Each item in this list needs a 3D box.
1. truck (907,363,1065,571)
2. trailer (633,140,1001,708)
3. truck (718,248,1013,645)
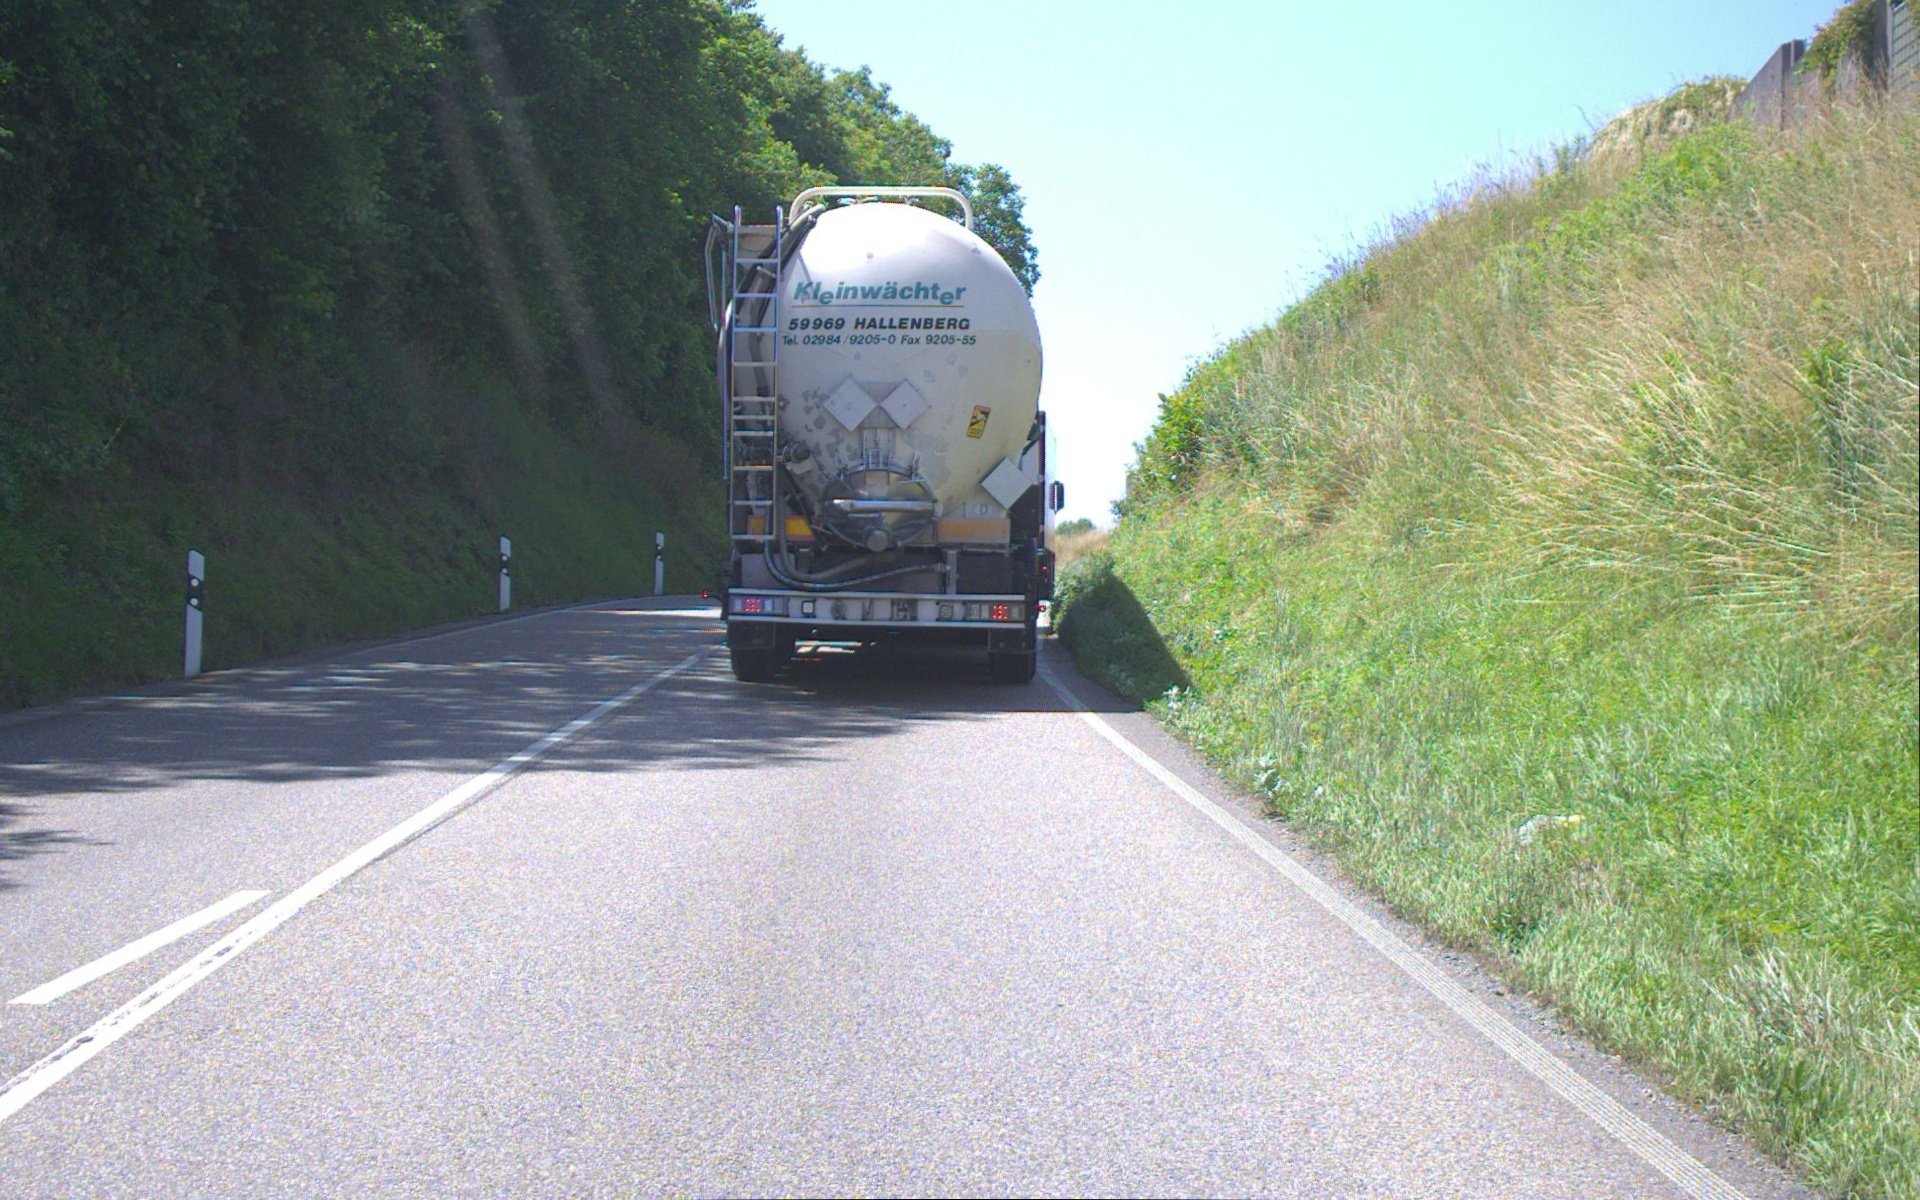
[{"bbox_3d":[0.702,-3.004,78.779,3.190,4.294,11.800,2,2,1],"label":"truck"},{"bbox_3d":[-1.000,-1.563,31.587,2.661,4.174,11.905,1,2,1],"label":"trailer"},{"bbox_3d":[-0.882,-1.685,37.678,2.727,3.916,7.264,1,3,2],"label":"truck"}]
